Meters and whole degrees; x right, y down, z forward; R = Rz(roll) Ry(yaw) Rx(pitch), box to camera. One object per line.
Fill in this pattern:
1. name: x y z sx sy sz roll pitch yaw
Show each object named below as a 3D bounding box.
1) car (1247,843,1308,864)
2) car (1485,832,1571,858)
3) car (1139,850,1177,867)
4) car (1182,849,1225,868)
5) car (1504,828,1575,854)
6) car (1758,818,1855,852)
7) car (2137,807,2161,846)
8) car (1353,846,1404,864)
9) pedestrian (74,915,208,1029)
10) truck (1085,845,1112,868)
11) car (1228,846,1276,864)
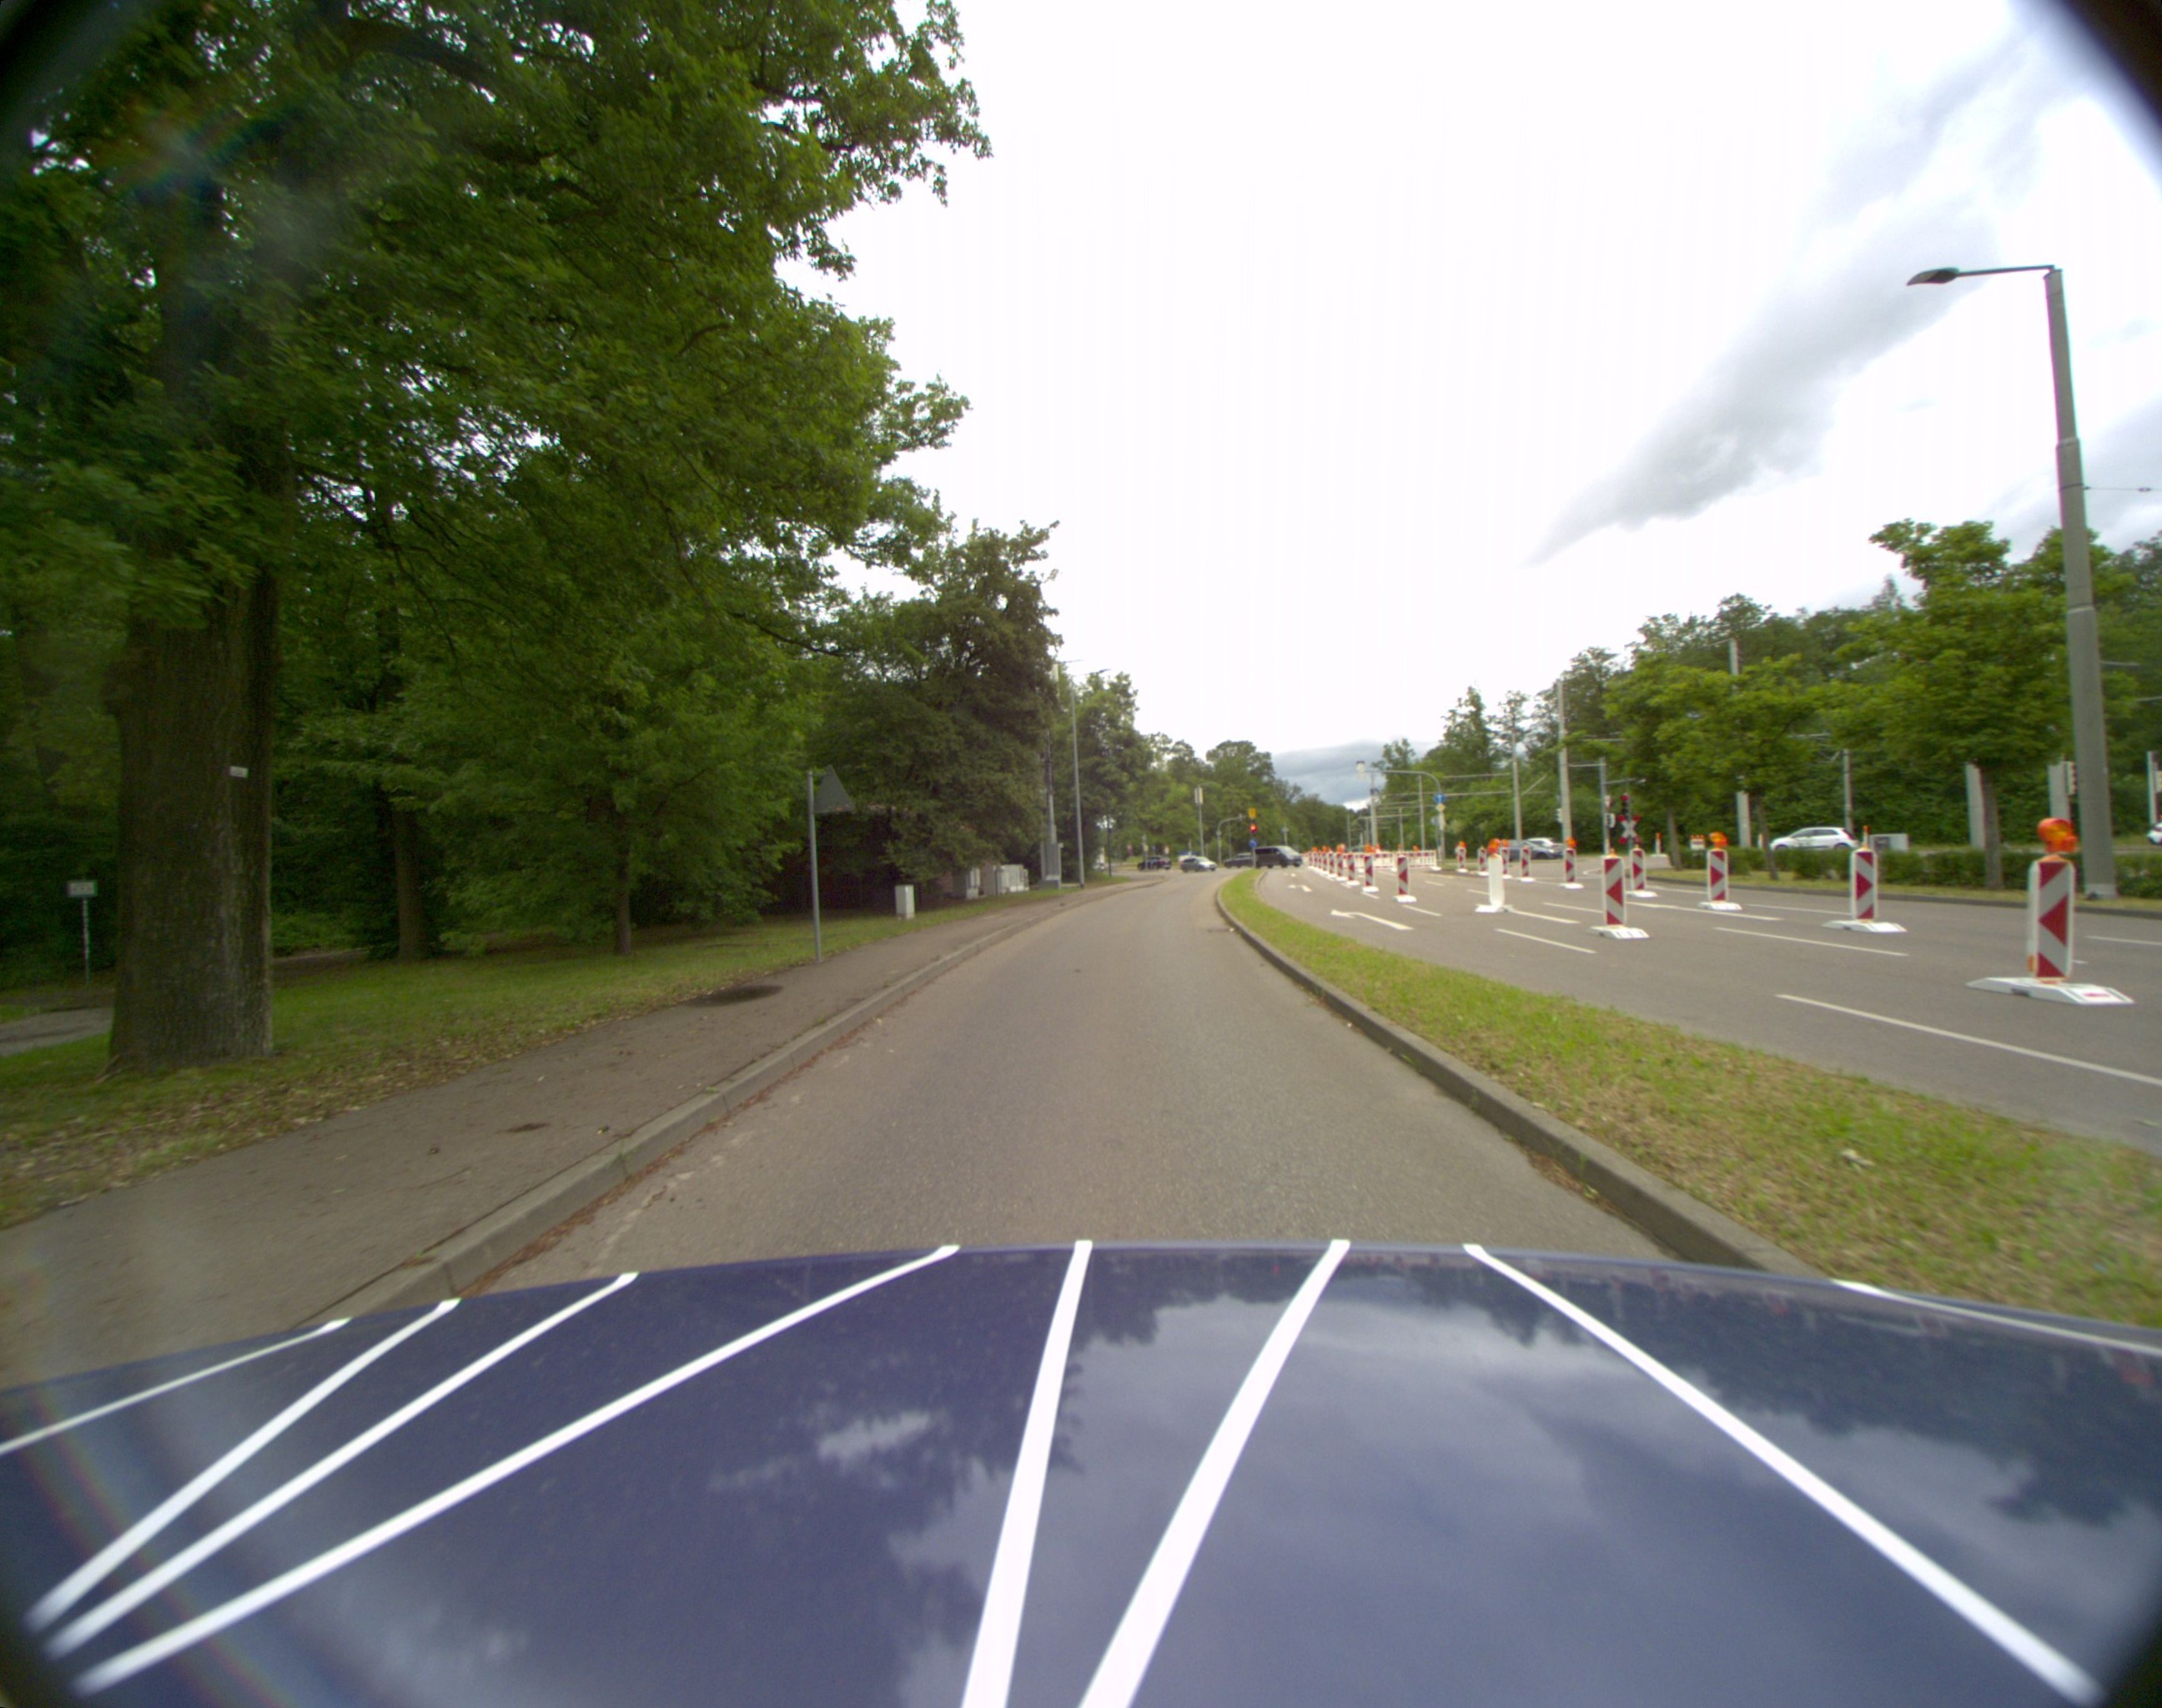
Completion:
1. car: 17.194 -0.014 66.626 1.961 1.578 4.898 -4 0 -38
2. car: 29.018 -0.553 49.443 1.799 1.428 4.380 -4 0 -36
3. car: 9.262 0.572 91.516 2.003 1.718 4.462 -6 1 -33
4. car: 11.925 0.500 74.051 1.901 1.631 3.974 -4 0 -32
5. car: 34.091 -0.961 56.615 1.862 1.642 4.038 -4 0 -35
6. car: 42.428 -1.086 44.517 1.862 1.712 3.783 -4 0 -35
7. car: 43.847 -1.177 29.030 1.772 1.479 3.990 -4 0 -37
8. car: 26.159 0.098 66.953 1.665 1.330 3.833 -8 3 -33
9. pedestrian: -15.416 1.899 12.502 0.834 1.641 1.034 -4 1 -13
10. truck: 2.458 0.387 111.474 2.748 3.192 6.668 -4 0 -8
11. car: 17.755 0.109 79.001 1.884 1.586 4.440 -4 0 -41
